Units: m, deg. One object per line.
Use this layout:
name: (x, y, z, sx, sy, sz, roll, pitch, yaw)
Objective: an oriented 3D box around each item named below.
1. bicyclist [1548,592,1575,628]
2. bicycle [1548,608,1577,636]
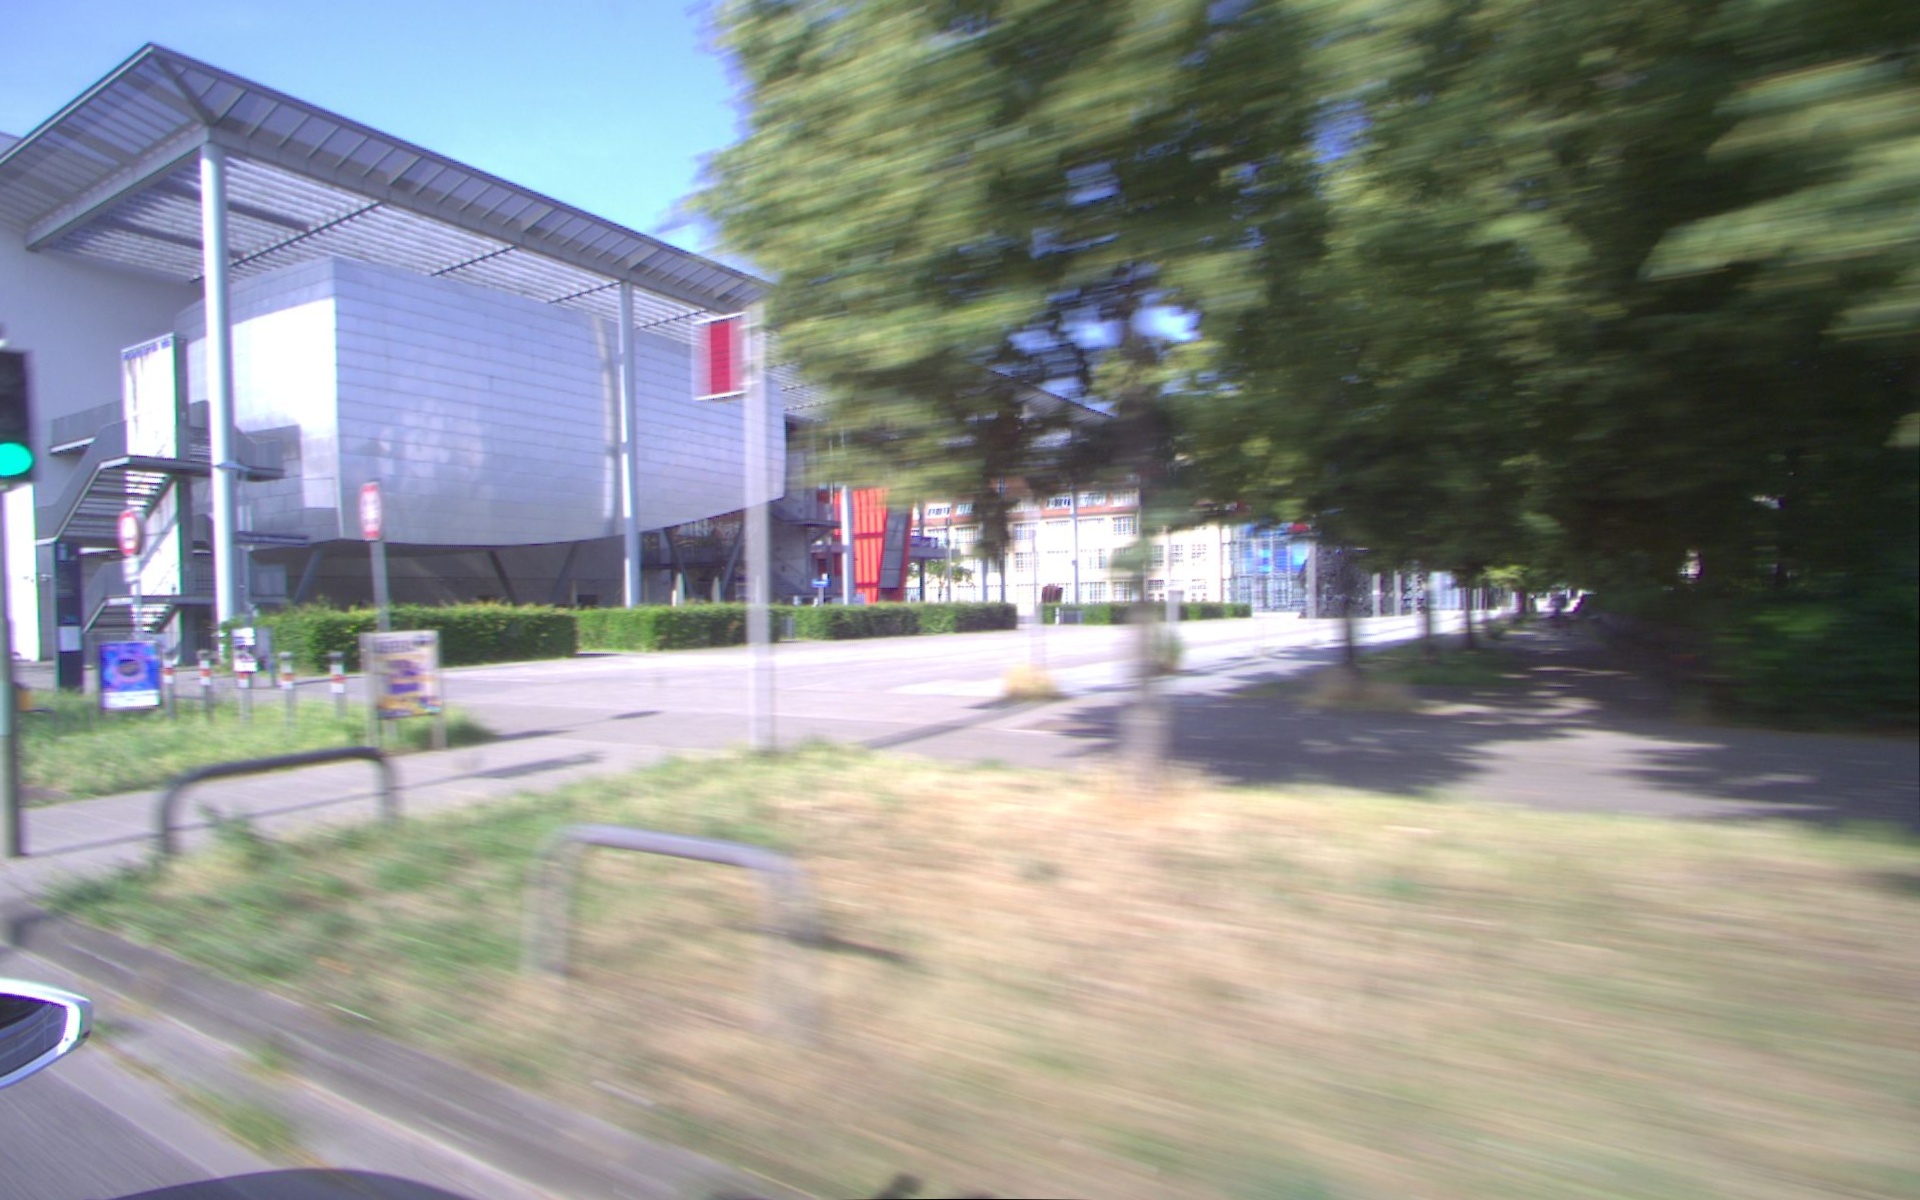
bicyclist: (21.845, 0.375, 36.367, 0.819, 1.252, 0.721, -1, -2, 30)
bicycle: (21.856, 0.811, 36.372, 0.855, 0.990, 1.793, -1, -2, 30)
